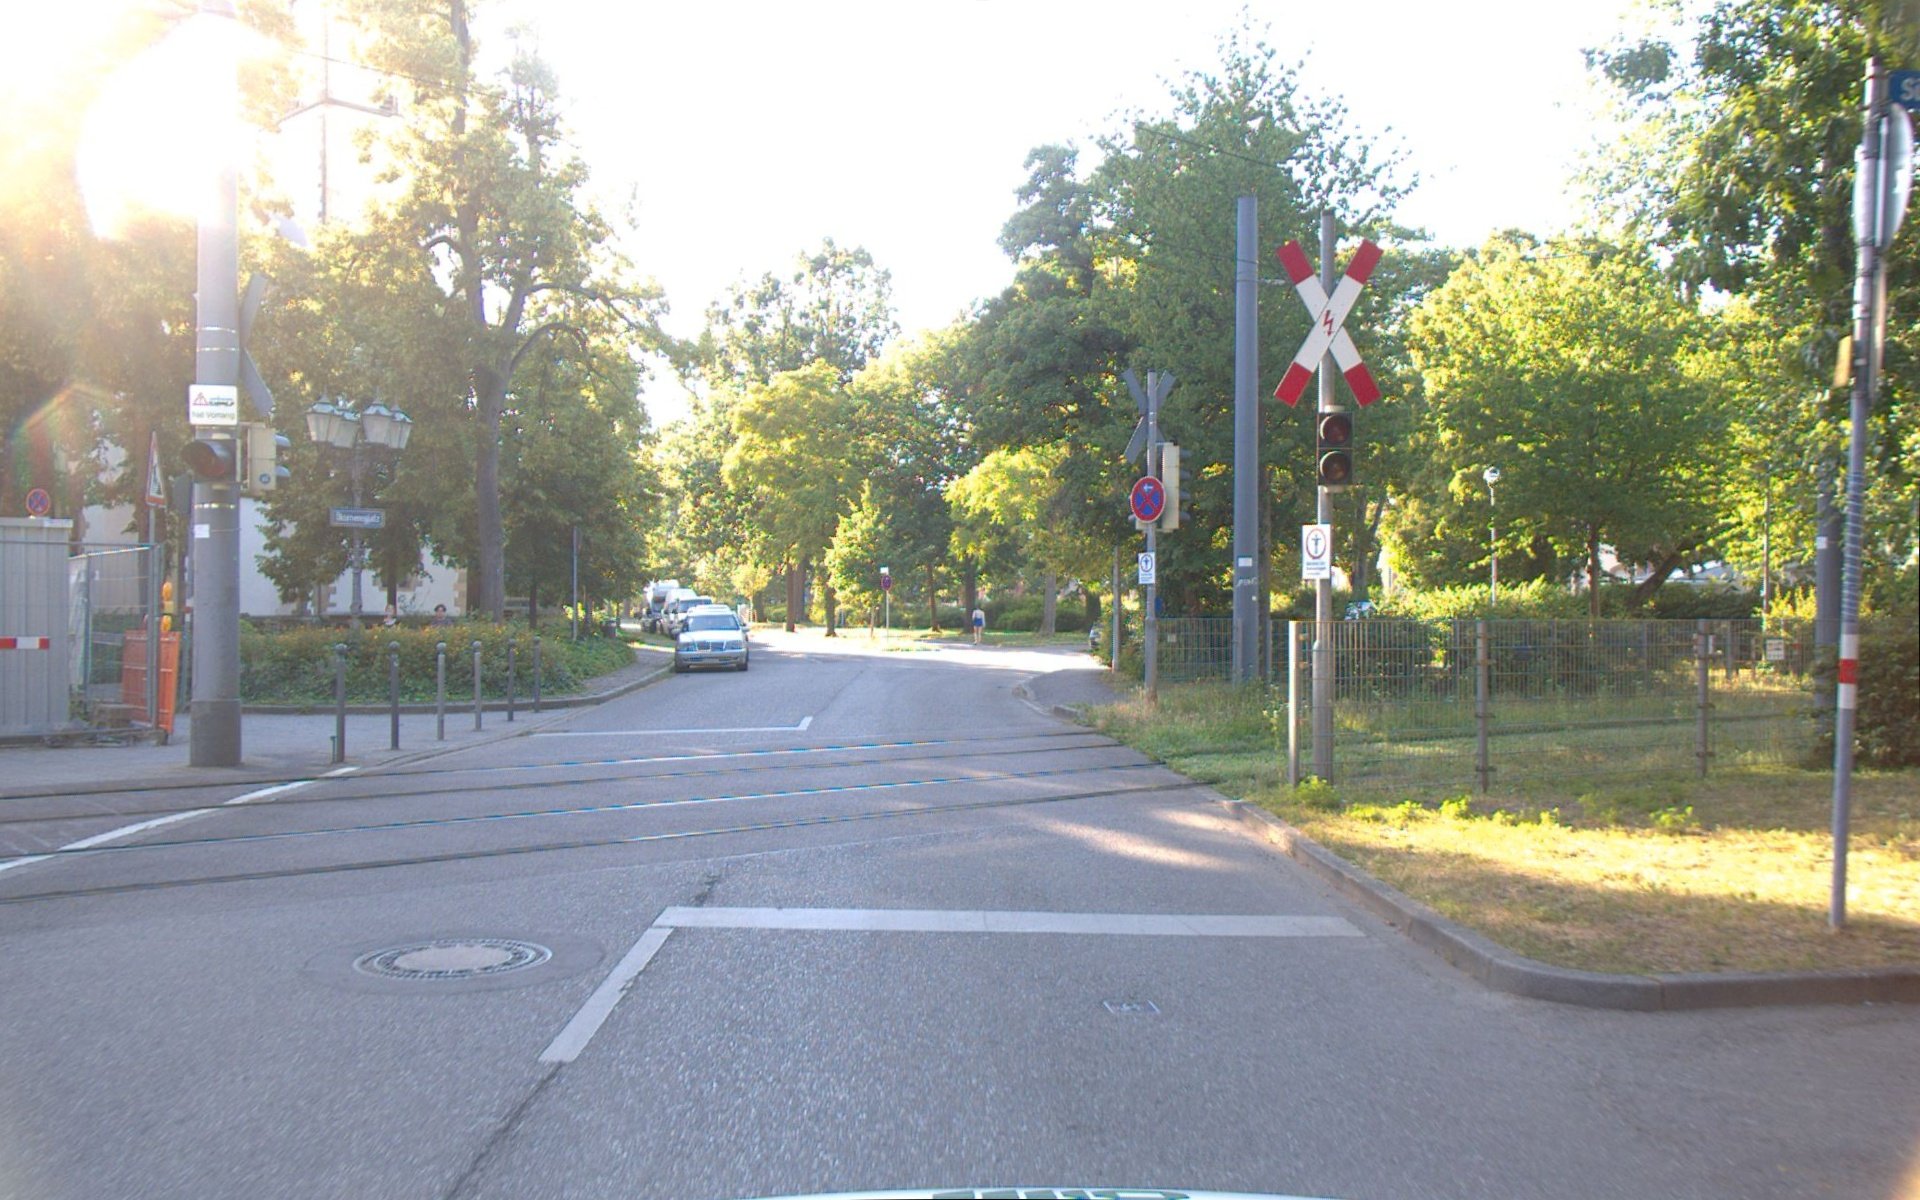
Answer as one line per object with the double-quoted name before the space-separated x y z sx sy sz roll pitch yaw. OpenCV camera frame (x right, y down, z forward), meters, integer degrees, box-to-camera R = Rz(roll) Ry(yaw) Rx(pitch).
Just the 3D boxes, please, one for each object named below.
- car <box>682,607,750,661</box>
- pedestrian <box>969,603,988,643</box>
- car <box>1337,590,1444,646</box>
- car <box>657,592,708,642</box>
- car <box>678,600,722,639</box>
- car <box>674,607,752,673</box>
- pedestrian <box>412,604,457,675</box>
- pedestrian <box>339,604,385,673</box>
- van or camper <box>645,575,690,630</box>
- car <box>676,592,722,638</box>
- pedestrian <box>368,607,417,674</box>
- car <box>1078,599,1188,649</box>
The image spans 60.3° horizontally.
"car" -7.141 0.949 48.072 1.791 1.440 4.484 -2 0 -10
"pedestrian" 0.736 0.921 66.723 0.757 1.602 0.767 0 0 -2
"car" 16.549 0.682 63.388 1.923 2.049 5.123 0 0 41
"car" -13.647 0.817 81.168 1.821 2.397 5.162 1 0 -17
"car" -10.472 0.752 66.479 1.587 1.527 3.686 1 0 -11
"car" -6.038 0.943 40.774 1.746 1.440 4.491 -2 0 -7
"pedestrian" -9.826 0.730 30.938 0.539 1.320 0.766 0 0 6
"pedestrian" -11.129 0.709 30.800 0.539 1.254 0.725 0 0 6
"van or camper" -16.606 0.131 93.652 2.054 2.959 6.309 1 0 -14
"car" -11.741 0.656 74.134 1.818 1.980 4.827 1 0 -11
"pedestrian" -10.558 0.742 30.776 0.539 1.216 0.884 0 0 6
"car" 6.386 0.866 60.856 1.777 1.705 4.292 3 1 43
